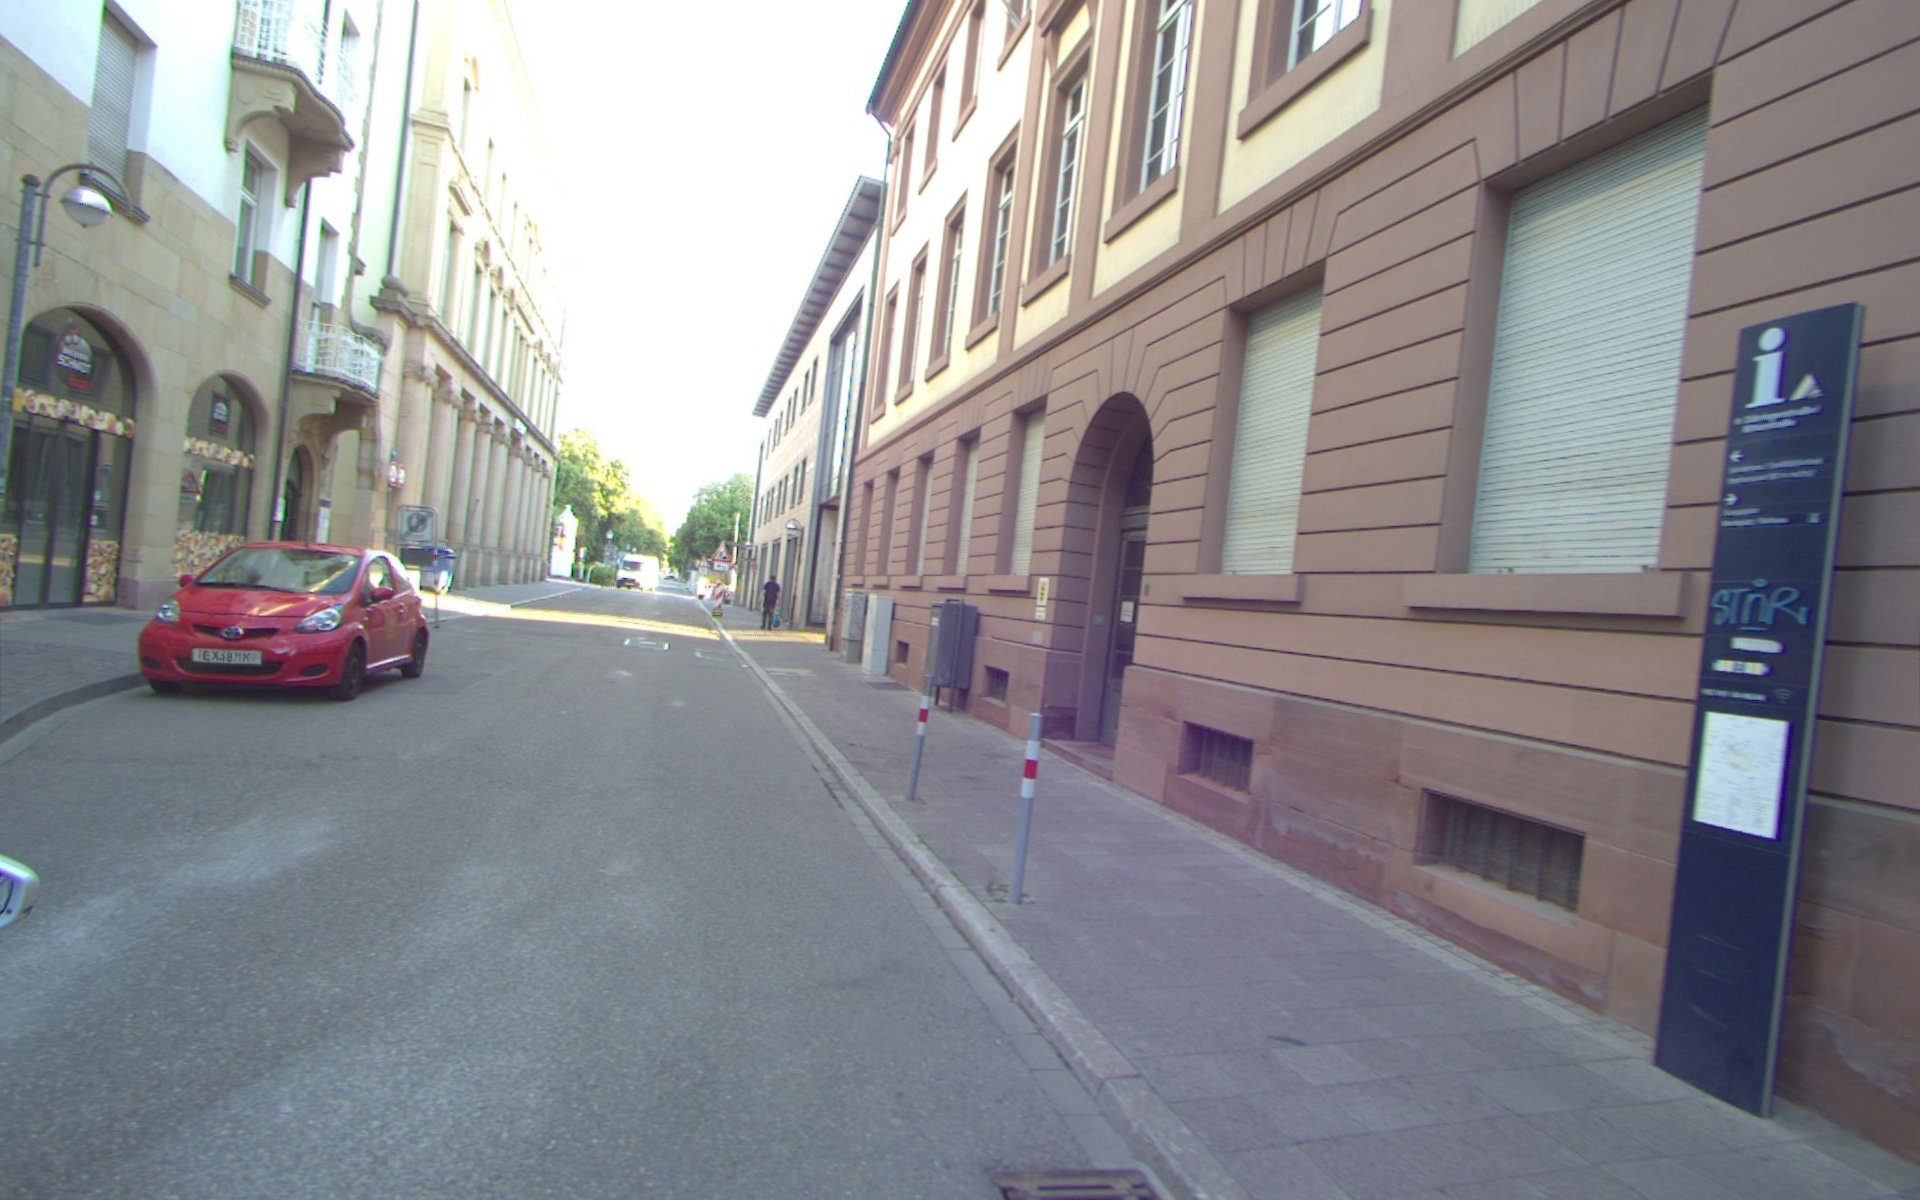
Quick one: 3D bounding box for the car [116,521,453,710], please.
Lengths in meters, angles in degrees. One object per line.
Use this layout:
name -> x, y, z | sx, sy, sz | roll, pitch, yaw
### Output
car -> -6.632, 0.112, 10.404 | 1.636, 1.488, 3.920 | 4, 0, -15

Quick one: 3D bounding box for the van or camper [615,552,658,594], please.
van or camper -> -23.213, -1.896, 72.332 | 2.191, 2.616, 6.354 | 7, 0, -14

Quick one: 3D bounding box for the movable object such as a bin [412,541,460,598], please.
movable object such as a bin -> -15.235, -0.875, 29.284 | 0.819, 1.521, 1.287 | 7, 0, -15

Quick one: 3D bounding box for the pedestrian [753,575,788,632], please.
pedestrian -> -6.228, 0.112, 33.078 | 0.988, 1.827, 0.879 | 2, 1, -17
